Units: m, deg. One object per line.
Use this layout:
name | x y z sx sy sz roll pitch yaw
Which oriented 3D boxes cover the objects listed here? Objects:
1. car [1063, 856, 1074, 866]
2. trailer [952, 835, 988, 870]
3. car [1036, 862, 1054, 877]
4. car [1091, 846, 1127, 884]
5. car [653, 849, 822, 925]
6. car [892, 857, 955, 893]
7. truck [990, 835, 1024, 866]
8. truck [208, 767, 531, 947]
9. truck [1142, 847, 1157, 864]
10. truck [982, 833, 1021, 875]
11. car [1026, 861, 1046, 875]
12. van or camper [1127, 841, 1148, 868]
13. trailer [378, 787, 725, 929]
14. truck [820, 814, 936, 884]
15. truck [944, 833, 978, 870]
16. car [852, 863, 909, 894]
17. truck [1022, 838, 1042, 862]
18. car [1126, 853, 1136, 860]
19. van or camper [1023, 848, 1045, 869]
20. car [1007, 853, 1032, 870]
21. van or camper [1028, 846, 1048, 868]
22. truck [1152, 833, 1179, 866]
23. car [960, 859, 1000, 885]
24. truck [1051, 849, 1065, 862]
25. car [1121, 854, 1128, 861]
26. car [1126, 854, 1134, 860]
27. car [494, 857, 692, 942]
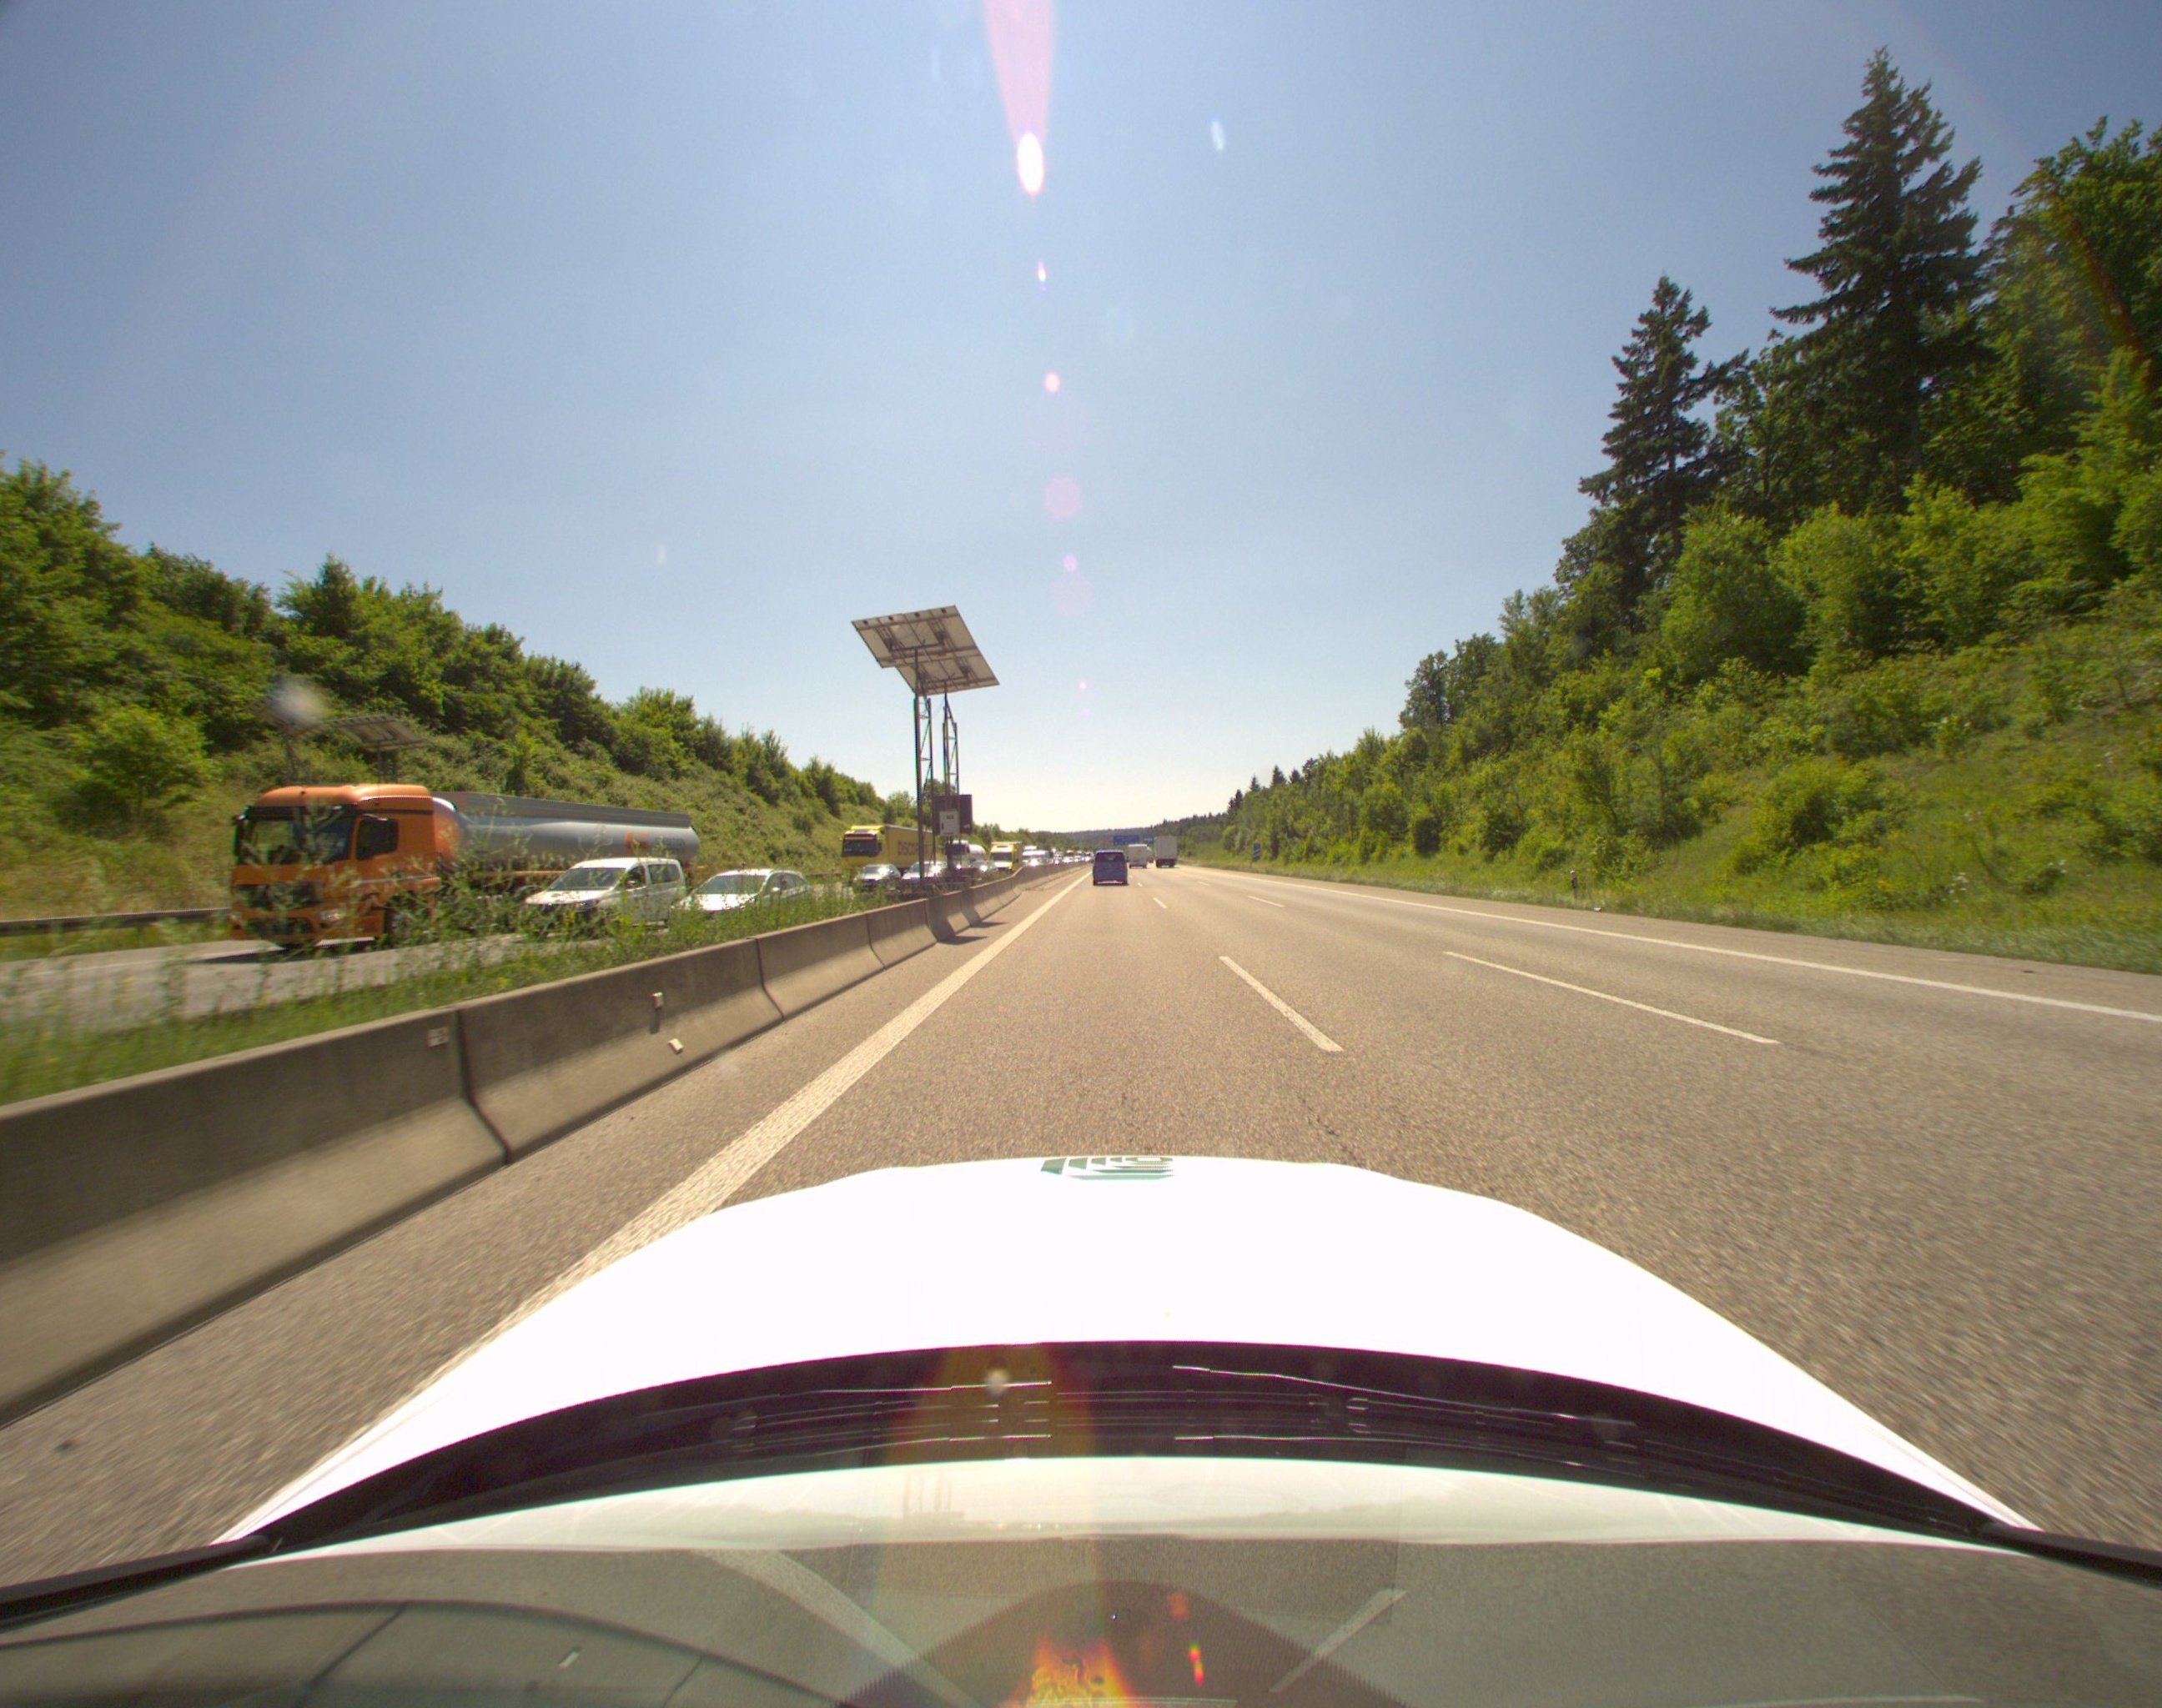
car | -2.286 1.264 150.786 1.821 1.764 4.992 -1 -1 1
trailer | -12.654 -0.195 93.498 2.602 3.733 10.680 -1 0 0
car | -4.290 1.840 98.146 1.821 1.764 4.992 -1 -1 1
car | 1.530 0.554 45.002 1.902 2.013 4.002 0 0 2
car | -7.624 0.695 18.651 1.822 1.497 4.758 -1 -1 0
car | -6.910 0.897 36.150 1.822 1.497 4.758 -1 -1 0
truck | -11.270 -0.456 125.881 3.684 4.456 16.673 -1 -1 0
truck | -15.087 0.053 17.866 2.485 3.365 5.186 -1 0 0
truck | 15.436 0.225 183.653 2.915 3.575 8.535 -3 0 4
truck | -5.976 0.043 62.203 2.260 3.016 6.776 -1 -1 0
car | -4.792 1.492 87.345 1.822 1.497 4.758 -1 -1 0
van or camper | 7.238 -0.045 105.836 2.592 3.077 7.190 -1 3 3
trailer | -14.901 0.253 24.861 2.568 3.294 11.699 -1 -2 2
truck | -14.452 -0.211 60.518 3.682 4.456 17.388 -1 -1 2
truck | -12.726 -0.220 86.829 2.669 3.743 5.871 -1 -1 0
car | -10.521 1.257 43.025 1.822 1.497 4.758 -1 -1 0
truck | -9.663 -0.726 161.497 2.929 4.516 8.613 -1 -1 4
car | 10.429 0.519 169.945 1.774 1.486 4.002 -1 0 2
van or camper | -6.909 0.698 120.588 2.187 2.939 7.543 -1 -1 4
car | -5.541 0.682 73.955 1.822 1.497 4.758 -1 -1 0
van or camper | -5.761 0.416 109.343 2.244 2.775 7.216 -1 -1 0
truck | 11.139 -0.509 108.097 2.773 4.128 9.742 -1 -1 1
car | -6.169 1.056 49.983 1.822 1.497 4.758 -1 -1 0
truck | -5.131 0.417 181.683 2.559 2.845 6.754 -1 -1 1
car | 11.127 0.863 210.150 1.769 1.772 4.002 -1 0 2
car | 11.218 0.722 187.931 1.774 1.486 4.002 -1 0 2
car | -11.369 0.983 19.459 1.822 1.763 4.758 -1 -1 0
